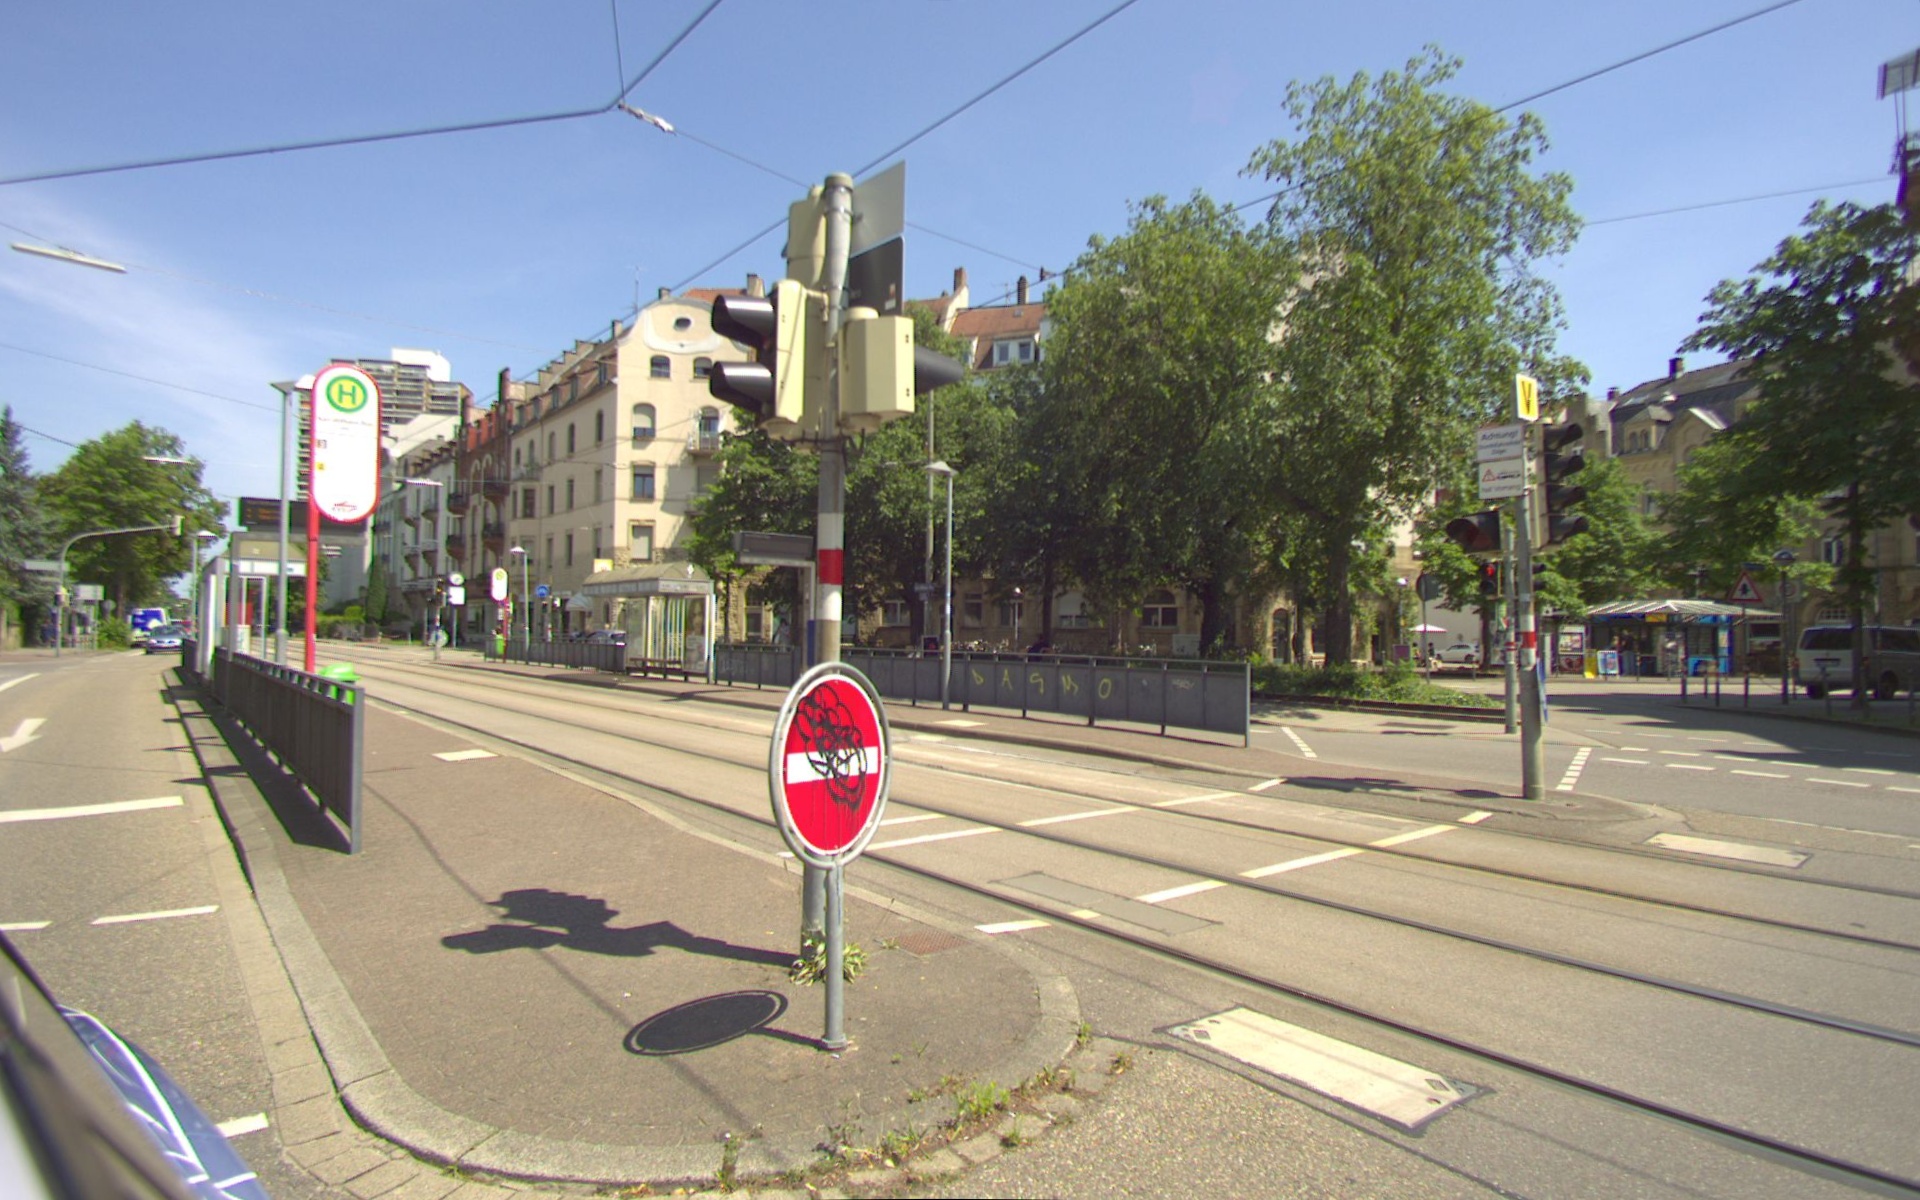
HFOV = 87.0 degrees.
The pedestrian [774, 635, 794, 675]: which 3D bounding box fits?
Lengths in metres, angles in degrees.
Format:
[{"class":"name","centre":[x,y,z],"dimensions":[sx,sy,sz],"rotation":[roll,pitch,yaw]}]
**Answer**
[{"class":"pedestrian","centre":[-6.605,2.063,37.992],"dimensions":[0.520,1.452,0.529],"rotation":[-2,-4,41]}]

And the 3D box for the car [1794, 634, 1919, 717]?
[{"class":"car","centre":[25.078,1.992,27.222],"dimensions":[4.510,2.082,2.006],"rotation":[2,-3,-20]}]

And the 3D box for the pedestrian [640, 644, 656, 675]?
[{"class":"pedestrian","centre":[-14.846,2.832,48.151],"dimensions":[0.520,1.452,0.529],"rotation":[-2,-4,41]}]

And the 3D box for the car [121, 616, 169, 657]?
[{"class":"car","centre":[-53.608,2.381,66.526],"dimensions":[2.203,2.511,5.275],"rotation":[3,-3,-41]}]

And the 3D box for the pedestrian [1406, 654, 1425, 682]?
[{"class":"pedestrian","centre":[22.219,3.314,49.361],"dimensions":[0.703,1.360,0.595],"rotation":[-2,-4,44]}]

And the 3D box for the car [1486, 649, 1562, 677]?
[{"class":"car","centre":[36.022,3.988,64.722],"dimensions":[1.780,1.711,4.013],"rotation":[2,-3,-20]}]

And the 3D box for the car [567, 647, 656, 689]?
[{"class":"car","centre":[-12.171,2.325,35.191],"dimensions":[1.671,1.320,3.855],"rotation":[3,-3,-39]}]

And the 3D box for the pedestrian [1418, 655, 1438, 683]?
[{"class":"pedestrian","centre":[23.255,3.444,50.312],"dimensions":[0.691,1.360,0.605],"rotation":[3,-3,-28]}]

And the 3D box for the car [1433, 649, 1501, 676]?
[{"class":"car","centre":[34.569,4.247,69.081],"dimensions":[1.780,1.711,4.013],"rotation":[2,-3,-20]}]

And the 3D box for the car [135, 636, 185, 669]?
[{"class":"car","centre":[-40.383,2.625,51.062],"dimensions":[1.711,1.564,4.430],"rotation":[3,-4,-41]}]

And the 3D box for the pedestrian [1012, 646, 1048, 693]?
[{"class":"pedestrian","centre":[2.043,2.014,29.492],"dimensions":[0.810,1.327,0.654],"rotation":[2,-3,-33]}]

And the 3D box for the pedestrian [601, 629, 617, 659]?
[{"class":"pedestrian","centre":[-17.334,2.177,49.998],"dimensions":[0.520,1.452,0.529],"rotation":[-2,-4,42]}]

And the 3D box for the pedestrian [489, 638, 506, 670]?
[{"class":"pedestrian","centre":[-25.760,3.008,56.393],"dimensions":[0.795,1.733,0.765],"rotation":[2,-3,-24]}]
